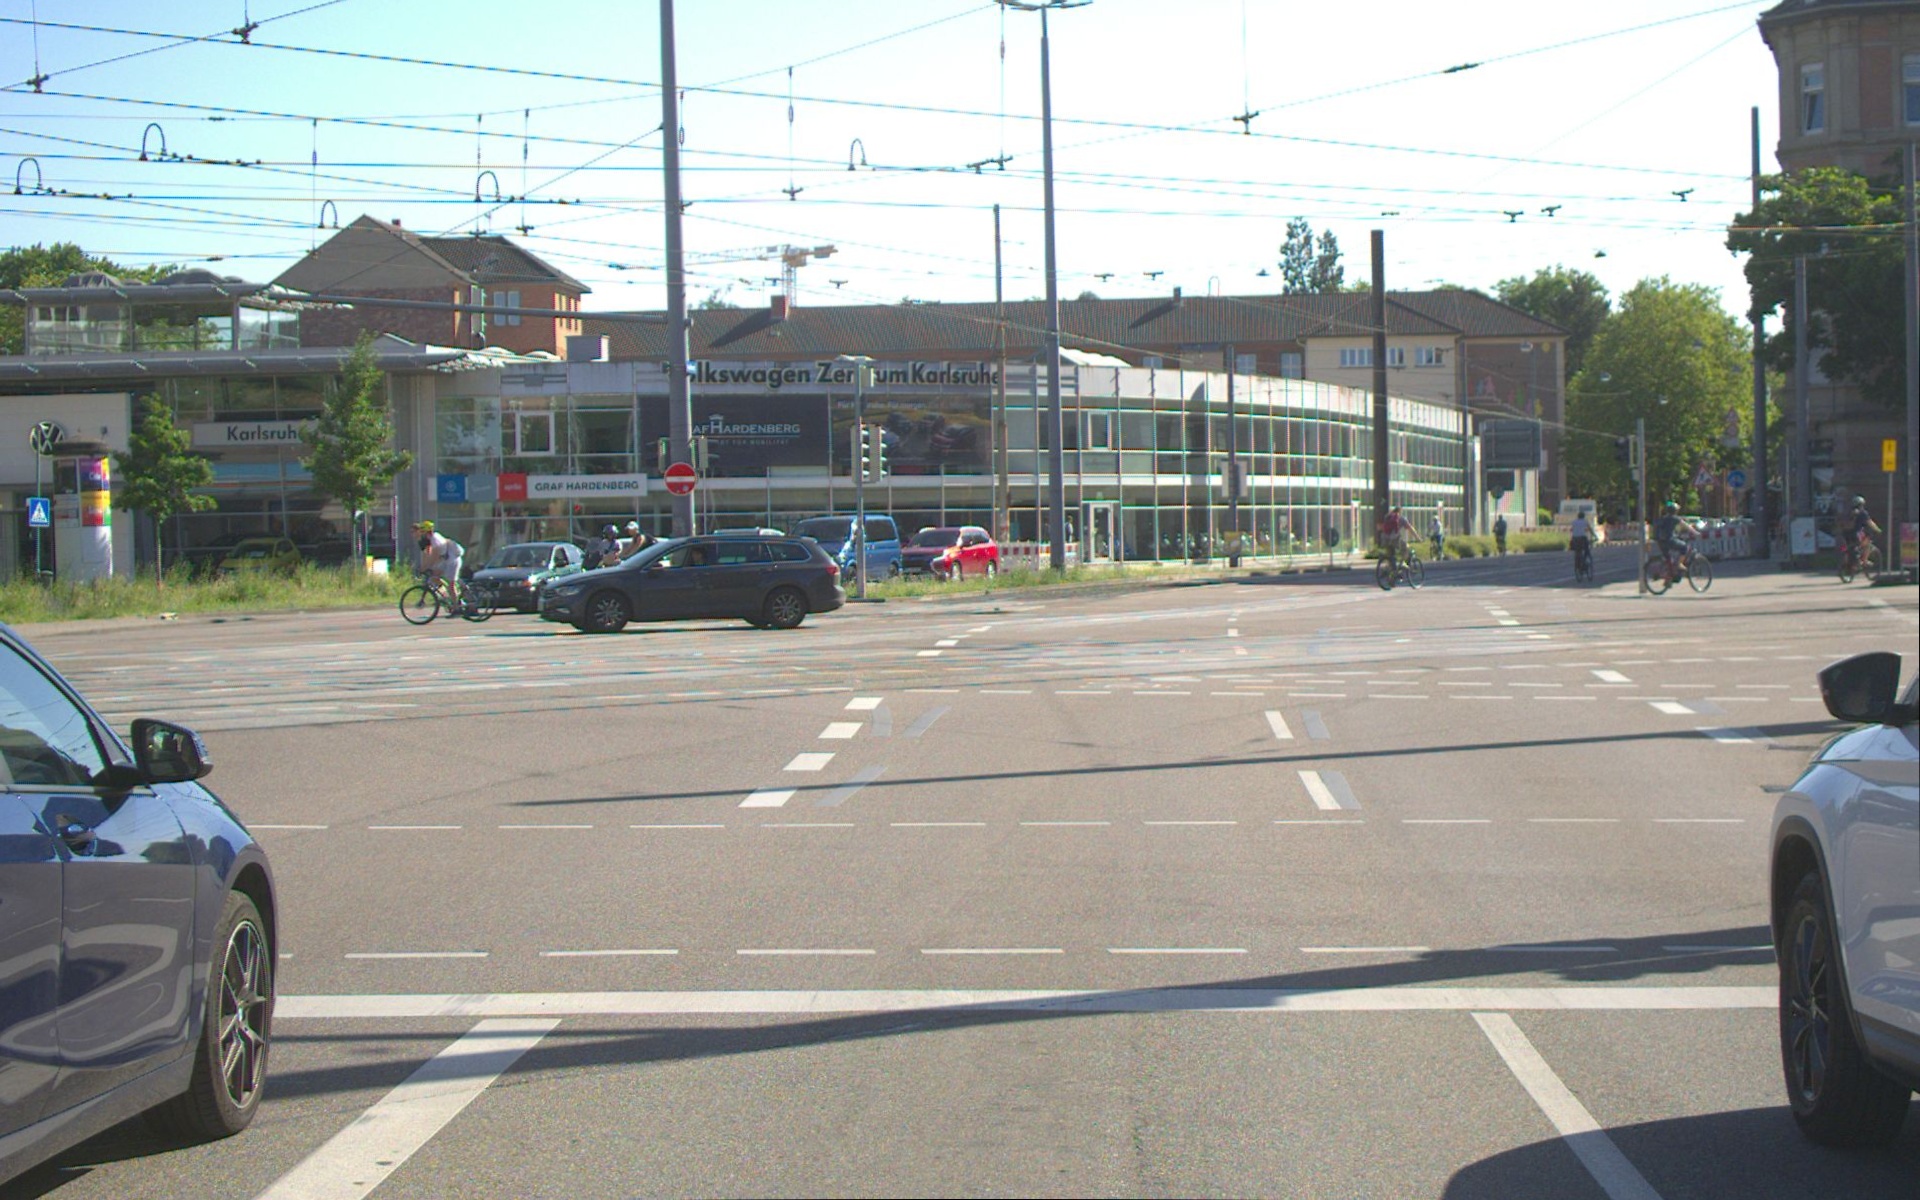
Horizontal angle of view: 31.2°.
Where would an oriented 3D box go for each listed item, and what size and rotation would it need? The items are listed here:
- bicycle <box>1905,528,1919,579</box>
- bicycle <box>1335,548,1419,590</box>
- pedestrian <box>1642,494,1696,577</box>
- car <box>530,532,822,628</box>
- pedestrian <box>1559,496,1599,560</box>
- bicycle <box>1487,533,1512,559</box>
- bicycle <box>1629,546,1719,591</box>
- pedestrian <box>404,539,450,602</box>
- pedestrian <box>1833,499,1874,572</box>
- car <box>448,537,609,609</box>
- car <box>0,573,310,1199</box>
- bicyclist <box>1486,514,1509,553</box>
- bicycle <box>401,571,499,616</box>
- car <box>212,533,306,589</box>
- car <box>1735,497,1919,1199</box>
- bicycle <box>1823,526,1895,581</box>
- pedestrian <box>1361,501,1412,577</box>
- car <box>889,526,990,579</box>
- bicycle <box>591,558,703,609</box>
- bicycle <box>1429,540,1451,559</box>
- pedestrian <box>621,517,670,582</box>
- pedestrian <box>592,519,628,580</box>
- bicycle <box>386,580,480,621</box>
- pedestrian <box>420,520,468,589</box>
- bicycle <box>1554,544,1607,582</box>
[{"bbox_3d":[21.746,-1.048,75.848,2.013,1.116,0.550,-1,1,-34],"label":"bicycle"},{"bbox_3d":[9.007,-0.679,74.209,1.926,0.867,0.745,-2,1,-43],"label":"bicycle"},{"bbox_3d":[14.166,-1.289,68.663,0.716,1.626,0.758,-2,1,-41],"label":"pedestrian"},{"bbox_3d":[-4.433,-0.332,53.502,4.209,1.396,1.859,-1,1,-17],"label":"car"},{"bbox_3d":[14.782,-1.712,82.125,0.747,1.517,0.717,0,1,27],"label":"pedestrian"},{"bbox_3d":[22.379,-2.227,142.618,0.810,1.041,2.126,-1,1,15],"label":"bicycle"},{"bbox_3d":[14.284,-0.632,68.767,1.925,0.867,0.745,-2,1,-41],"label":"bicycle"},{"bbox_3d":[-9.658,-0.545,62.267,0.747,1.123,0.424,-1,1,-18],"label":"pedestrian"},{"bbox_3d":[18.593,-1.349,71.558,0.548,1.512,0.705,0,1,43],"label":"pedestrian"},{"bbox_3d":[-8.593,-0.547,68.681,1.705,1.349,3.697,-1,1,19],"label":"car"},{"bbox_3d":[-2.696,0.679,7.278,1.711,1.440,4.031,1,1,2],"label":"car"},{"bbox_3d":[22.246,-2.749,142.346,0.810,1.618,0.928,-1,1,15],"label":"bicyclist"},{"bbox_3d":[-8.954,-0.120,60.375,1.629,0.756,0.424,-1,1,-21],"label":"bicycle"},{"bbox_3d":[-22.058,-1.245,108.293,1.966,1.700,4.083,-1,1,2],"label":"car"},{"bbox_3d":[2.914,0.593,7.053,1.695,1.636,4.297,-1,1,1],"label":"car"},{"bbox_3d":[18.770,-0.980,71.734,0.548,1.116,2.014,0,1,43],"label":"bicycle"},{"bbox_3d":[9.235,-1.314,74.474,0.716,1.626,0.805,-2,1,-43],"label":"pedestrian"},{"bbox_3d":[-0.529,-1.305,93.565,1.627,1.359,3.682,-1,1,19],"label":"car"},{"bbox_3d":[-5.869,-0.311,64.538,2.004,0.910,0.562,-1,1,-17],"label":"bicycle"},{"bbox_3d":[18.611,-1.968,133.245,0.423,0.715,1.473,0,1,24],"label":"bicycle"},{"bbox_3d":[-5.897,-0.948,64.519,0.793,1.200,0.560,-1,1,-17],"label":"pedestrian"},{"bbox_3d":[-6.953,-1.012,68.271,0.423,1.200,0.749,-1,1,19],"label":"pedestrian"},{"bbox_3d":[-9.548,0.006,62.311,1.628,0.715,0.424,-1,1,-17],"label":"bicycle"},{"bbox_3d":[-9.053,-0.805,60.329,0.747,1.200,0.424,-1,1,-21],"label":"pedestrian"},{"bbox_3d":[14.844,-0.891,82.239,0.744,0.867,1.928,0,1,26],"label":"bicycle"}]
